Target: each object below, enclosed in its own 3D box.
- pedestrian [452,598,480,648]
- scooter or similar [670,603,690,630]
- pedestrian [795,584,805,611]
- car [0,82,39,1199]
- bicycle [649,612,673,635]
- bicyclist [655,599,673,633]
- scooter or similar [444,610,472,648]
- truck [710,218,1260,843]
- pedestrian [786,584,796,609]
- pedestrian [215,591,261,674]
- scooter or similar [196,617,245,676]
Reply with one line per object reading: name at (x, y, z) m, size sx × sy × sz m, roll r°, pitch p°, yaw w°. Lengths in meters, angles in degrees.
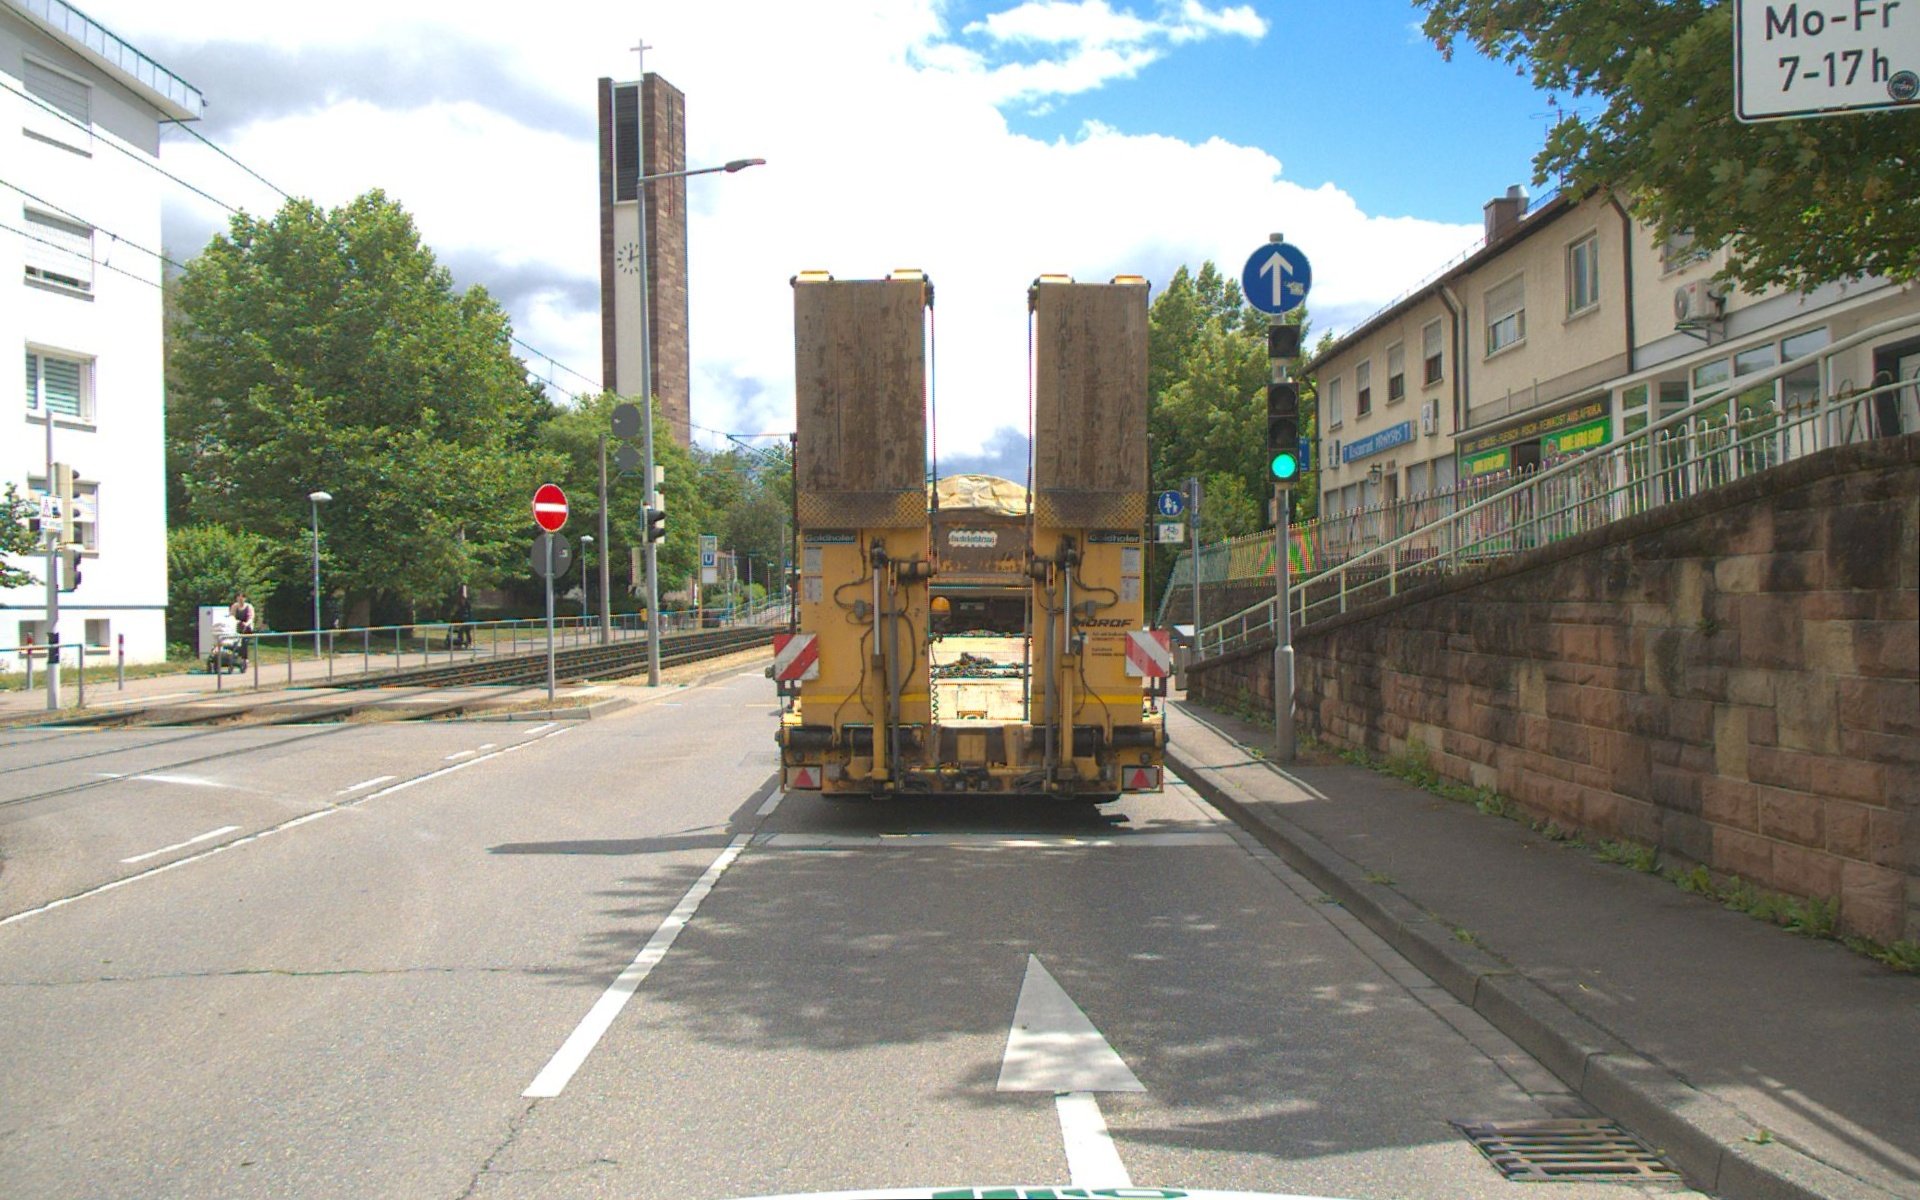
pedestrian at (-15.543, 0.709, 52.043) m, size 0.600 × 1.567 × 0.874 m, roll 0°, pitch -1°, yaw 0°
scooter or similar at (-13.331, 0.764, 78.702) m, size 0.636 × 1.258 × 1.401 m, roll 1°, pitch 1°, yaw 2°
pedestrian at (-12.167, -0.212, 125.765) m, size 0.697 × 2.049 × 0.732 m, roll 1°, pitch -1°, yaw -1°
car at (-2.978, 0.188, 0.939) m, size 2.186 × 2.518 × 5.084 m, roll -1°, pitch 0°, yaw -3°
bicycle at (-13.092, 1.028, 72.517) m, size 0.624 × 1.011 × 1.928 m, roll 1°, pitch 0°, yaw 1°
bicyclist at (-13.047, 0.701, 72.874) m, size 0.620 × 1.454 × 0.790 m, roll 1°, pitch 0°, yaw 1°
scooter or similar at (-15.534, 0.892, 51.187) m, size 0.592 × 1.134 × 0.821 m, roll 0°, pitch 0°, yaw 0°
truck at (0.058, -0.409, 17.002) m, size 3.333 × 3.798 × 13.735 m, roll -1°, pitch 0°, yaw -1°
pedestrian at (-12.381, -0.232, 121.147) m, size 0.572 × 1.809 × 0.576 m, roll 1°, pitch -1°, yaw 1°
pedestrian at (-15.078, 0.671, 34.552) m, size 0.632 × 1.722 × 0.679 m, roll 0°, pitch -1°, yaw 1°
scooter or similar at (-15.087, 0.939, 33.753) m, size 0.595 × 1.183 × 0.892 m, roll 0°, pitch 0°, yaw 1°
